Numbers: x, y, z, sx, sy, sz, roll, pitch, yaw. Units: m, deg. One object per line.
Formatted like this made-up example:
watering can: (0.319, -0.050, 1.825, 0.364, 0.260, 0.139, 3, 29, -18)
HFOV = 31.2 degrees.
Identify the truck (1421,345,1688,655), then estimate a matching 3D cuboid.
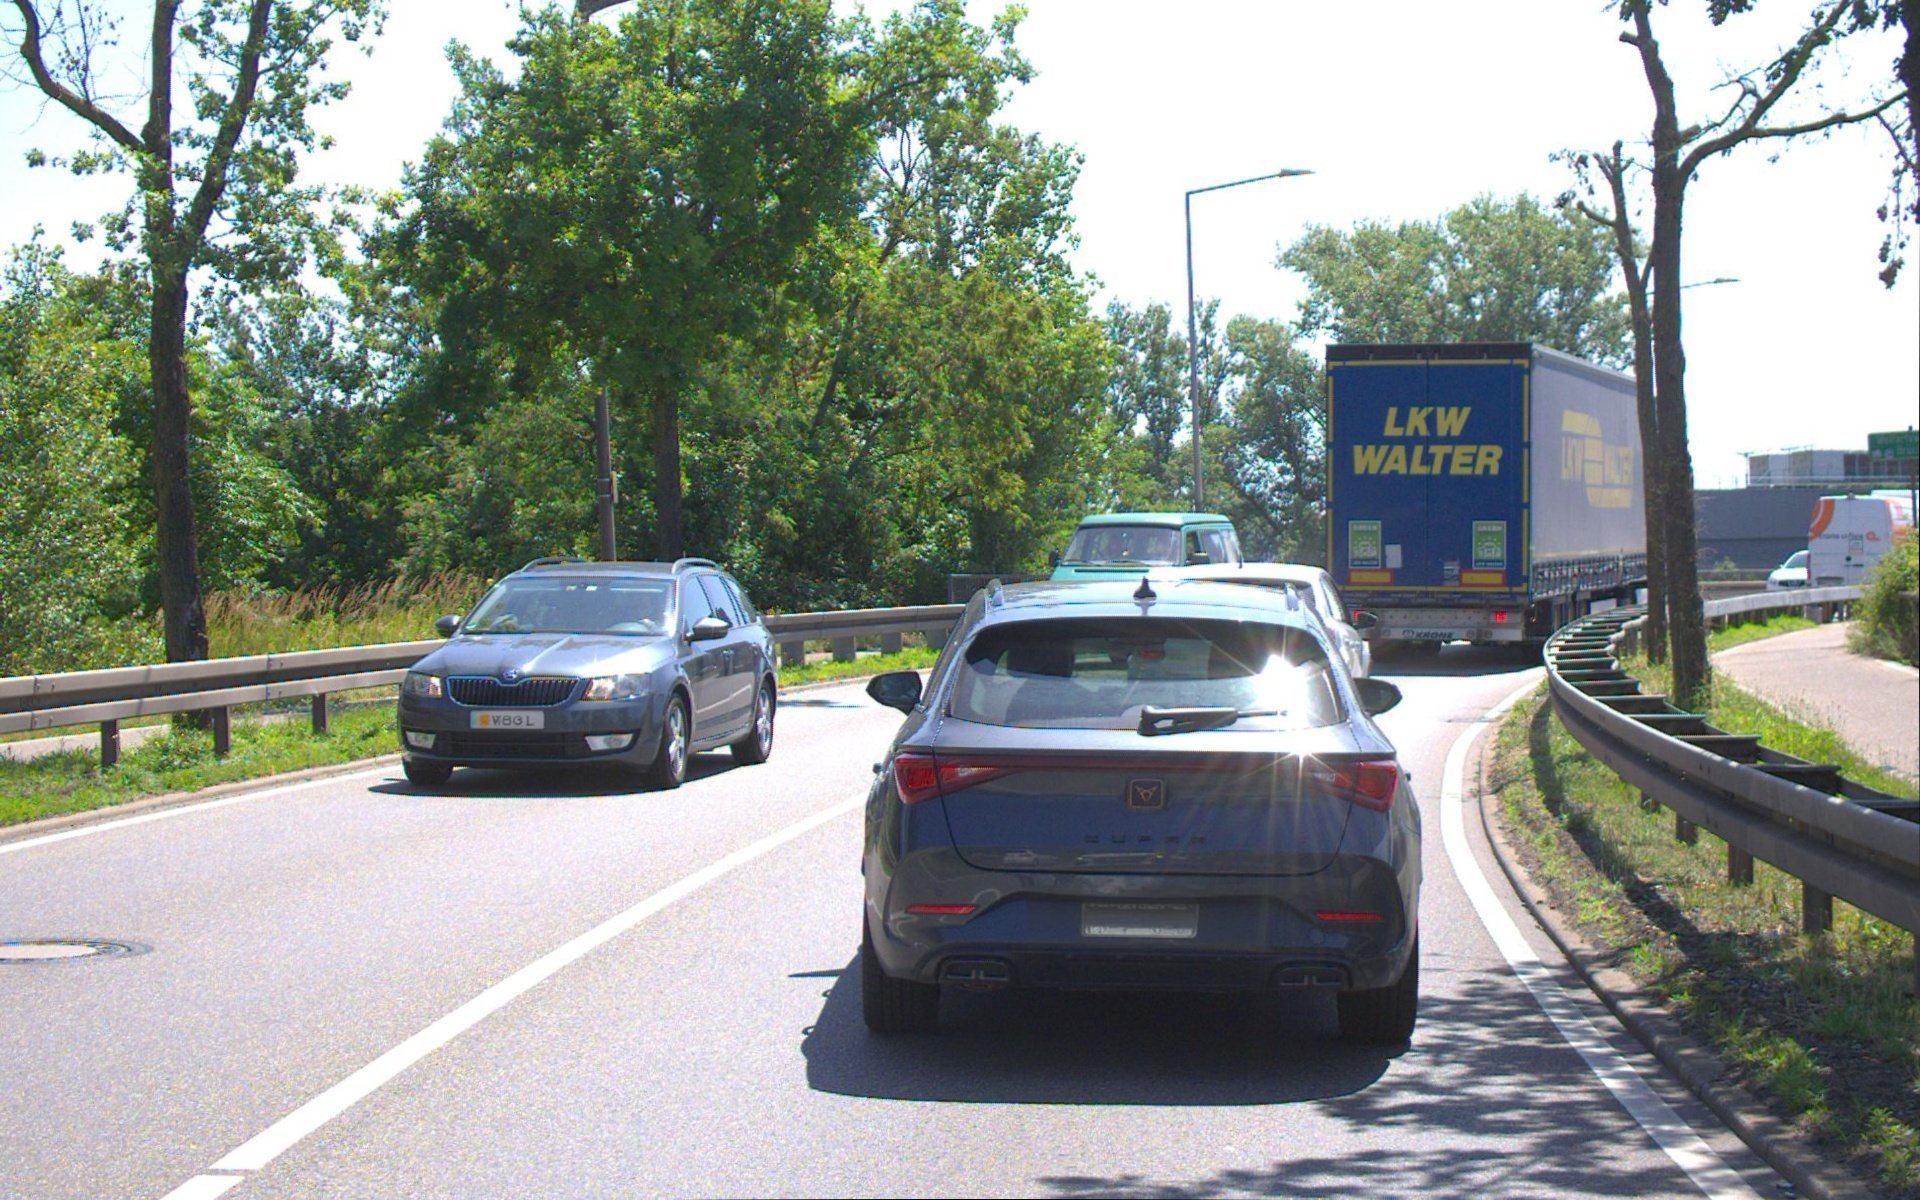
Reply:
truck: (9.554, -1.511, 54.554, 3.173, 4.569, 7.390, 1, 0, 17)

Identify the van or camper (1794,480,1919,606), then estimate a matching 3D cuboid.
van or camper: (20.338, -1.278, 76.843, 2.206, 2.702, 5.918, 0, 1, 25)

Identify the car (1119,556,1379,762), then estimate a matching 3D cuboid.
car: (2.310, 0.401, 26.780, 1.594, 1.456, 3.543, 1, 1, 11)

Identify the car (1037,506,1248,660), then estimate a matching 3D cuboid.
car: (2.485, -0.256, 45.653, 1.831, 1.932, 4.772, 0, 1, 15)

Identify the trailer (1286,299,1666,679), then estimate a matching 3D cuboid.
trailer: (7.538, -1.447, 48.159, 3.137, 4.598, 12.937, 1, 1, 18)

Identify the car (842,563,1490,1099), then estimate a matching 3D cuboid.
car: (0.525, 0.636, 11.661, 1.845, 1.493, 3.758, 0, 1, -2)

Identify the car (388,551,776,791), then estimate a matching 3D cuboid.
car: (-2.431, 0.400, 23.230, 1.744, 1.442, 4.516, 0, 1, 5)

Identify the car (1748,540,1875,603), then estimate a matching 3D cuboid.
car: (21.405, -0.734, 86.350, 2.019, 1.538, 3.753, 1, 1, 32)
